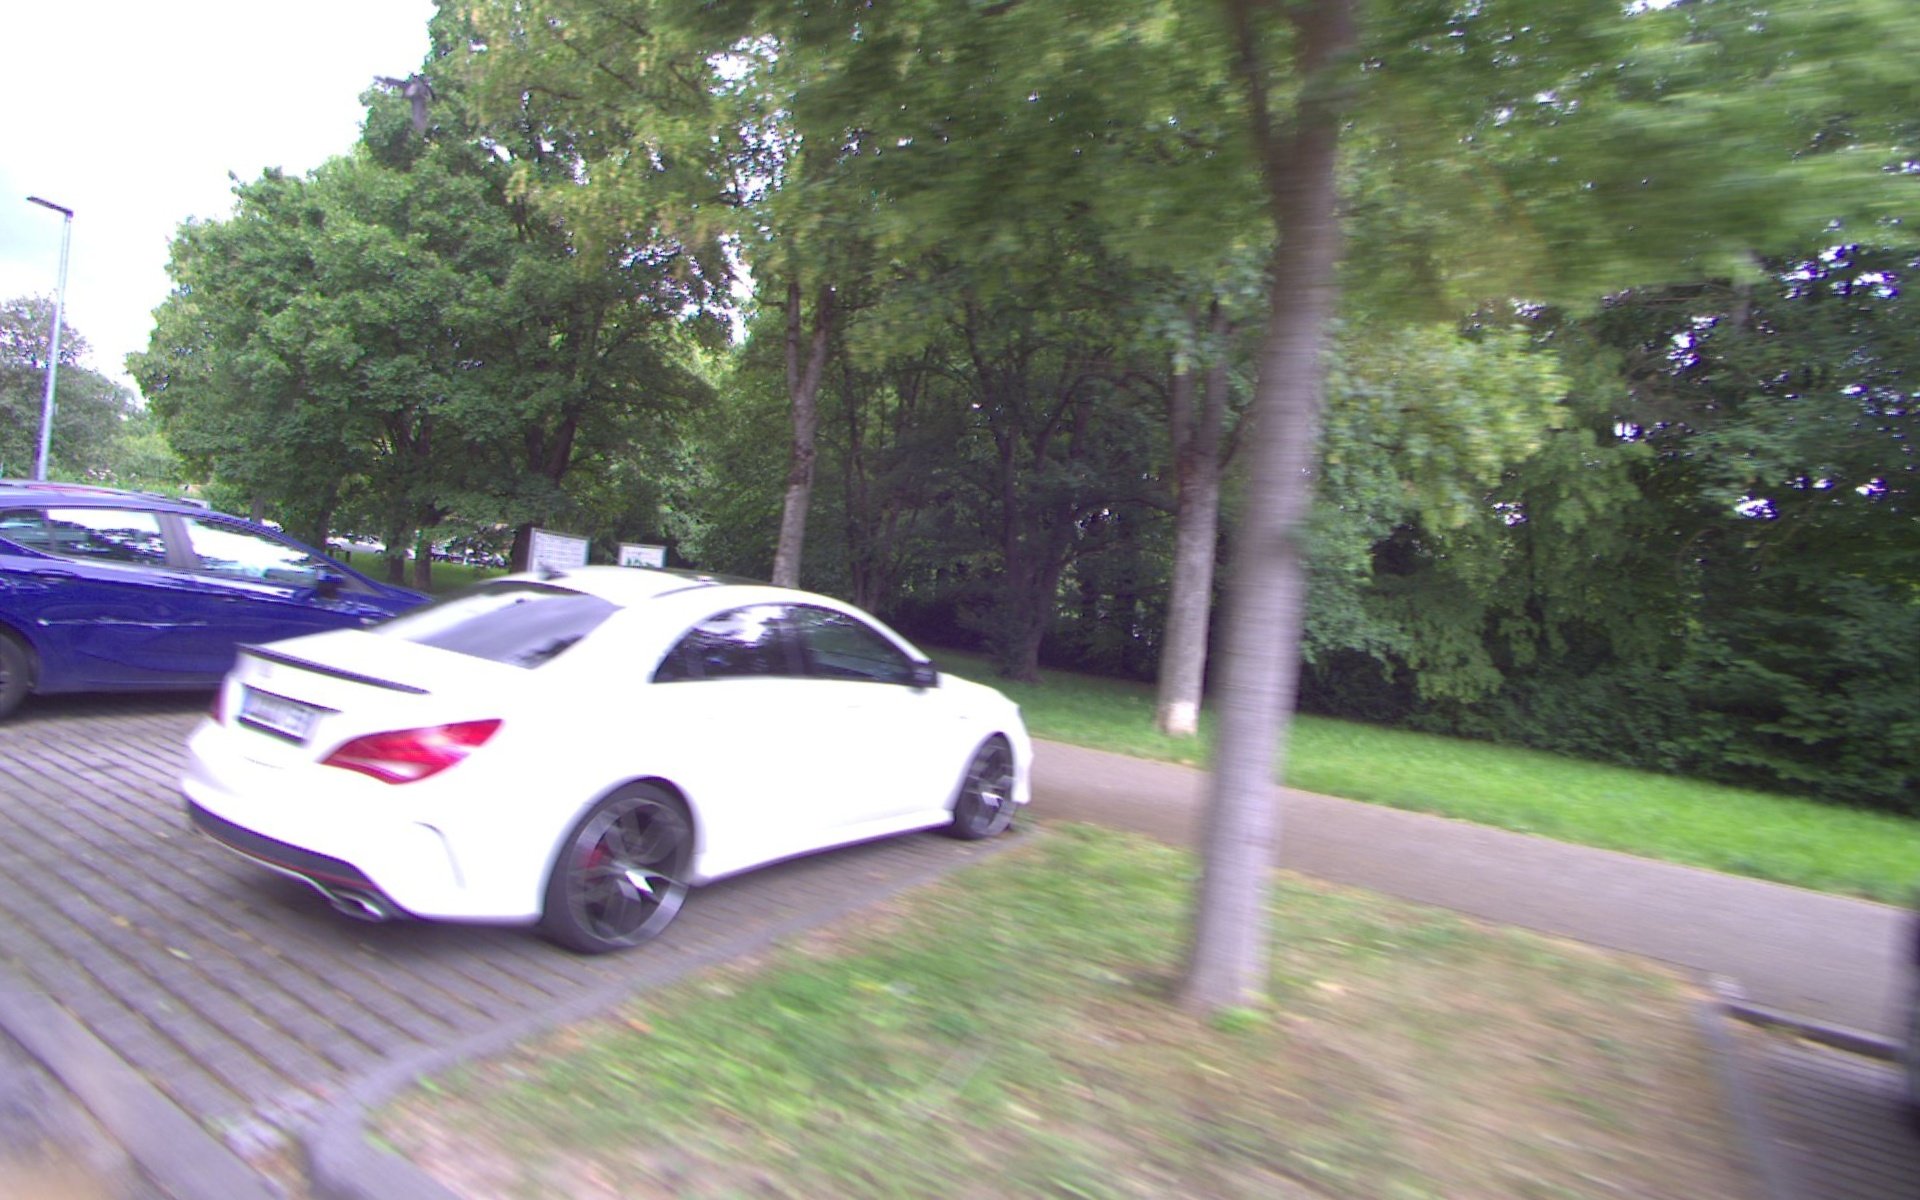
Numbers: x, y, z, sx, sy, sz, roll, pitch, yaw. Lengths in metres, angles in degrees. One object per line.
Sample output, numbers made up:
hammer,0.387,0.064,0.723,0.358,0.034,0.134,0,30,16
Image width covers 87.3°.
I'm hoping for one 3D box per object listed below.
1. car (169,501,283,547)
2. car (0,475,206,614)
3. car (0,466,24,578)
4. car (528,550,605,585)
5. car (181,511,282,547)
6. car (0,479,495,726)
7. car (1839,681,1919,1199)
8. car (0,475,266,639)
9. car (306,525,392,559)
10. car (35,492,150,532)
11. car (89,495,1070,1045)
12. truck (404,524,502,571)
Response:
car,-45.987,-4.726,63.133,2.106,2.082,5.317,7,-1,38
car,-12.109,-0.792,11.917,1.950,1.537,4.637,8,1,33
car,-16.601,-1.404,14.284,2.047,1.697,4.418,8,1,31
car,-31.831,-2.609,81.446,2.106,2.082,5.317,7,-1,38
car,-42.694,-4.154,59.026,1.678,1.445,4.426,6,-1,38
car,-5.897,-0.012,7.416,1.821,1.475,4.074,7,1,32
car,3.328,1.075,1.935,1.851,1.535,3.840,7,1,34
car,-9.791,-0.491,10.218,1.819,1.537,4.078,7,1,28
car,-38.743,-3.675,63.906,1.678,1.544,4.281,6,-1,38
car,-46.574,-4.708,54.107,1.677,1.445,4.391,6,-1,37
car,-1.278,0.535,5.196,1.816,1.473,4.488,7,1,31
truck,-34.800,-3.559,69.197,2.160,2.456,5.504,6,-1,38
